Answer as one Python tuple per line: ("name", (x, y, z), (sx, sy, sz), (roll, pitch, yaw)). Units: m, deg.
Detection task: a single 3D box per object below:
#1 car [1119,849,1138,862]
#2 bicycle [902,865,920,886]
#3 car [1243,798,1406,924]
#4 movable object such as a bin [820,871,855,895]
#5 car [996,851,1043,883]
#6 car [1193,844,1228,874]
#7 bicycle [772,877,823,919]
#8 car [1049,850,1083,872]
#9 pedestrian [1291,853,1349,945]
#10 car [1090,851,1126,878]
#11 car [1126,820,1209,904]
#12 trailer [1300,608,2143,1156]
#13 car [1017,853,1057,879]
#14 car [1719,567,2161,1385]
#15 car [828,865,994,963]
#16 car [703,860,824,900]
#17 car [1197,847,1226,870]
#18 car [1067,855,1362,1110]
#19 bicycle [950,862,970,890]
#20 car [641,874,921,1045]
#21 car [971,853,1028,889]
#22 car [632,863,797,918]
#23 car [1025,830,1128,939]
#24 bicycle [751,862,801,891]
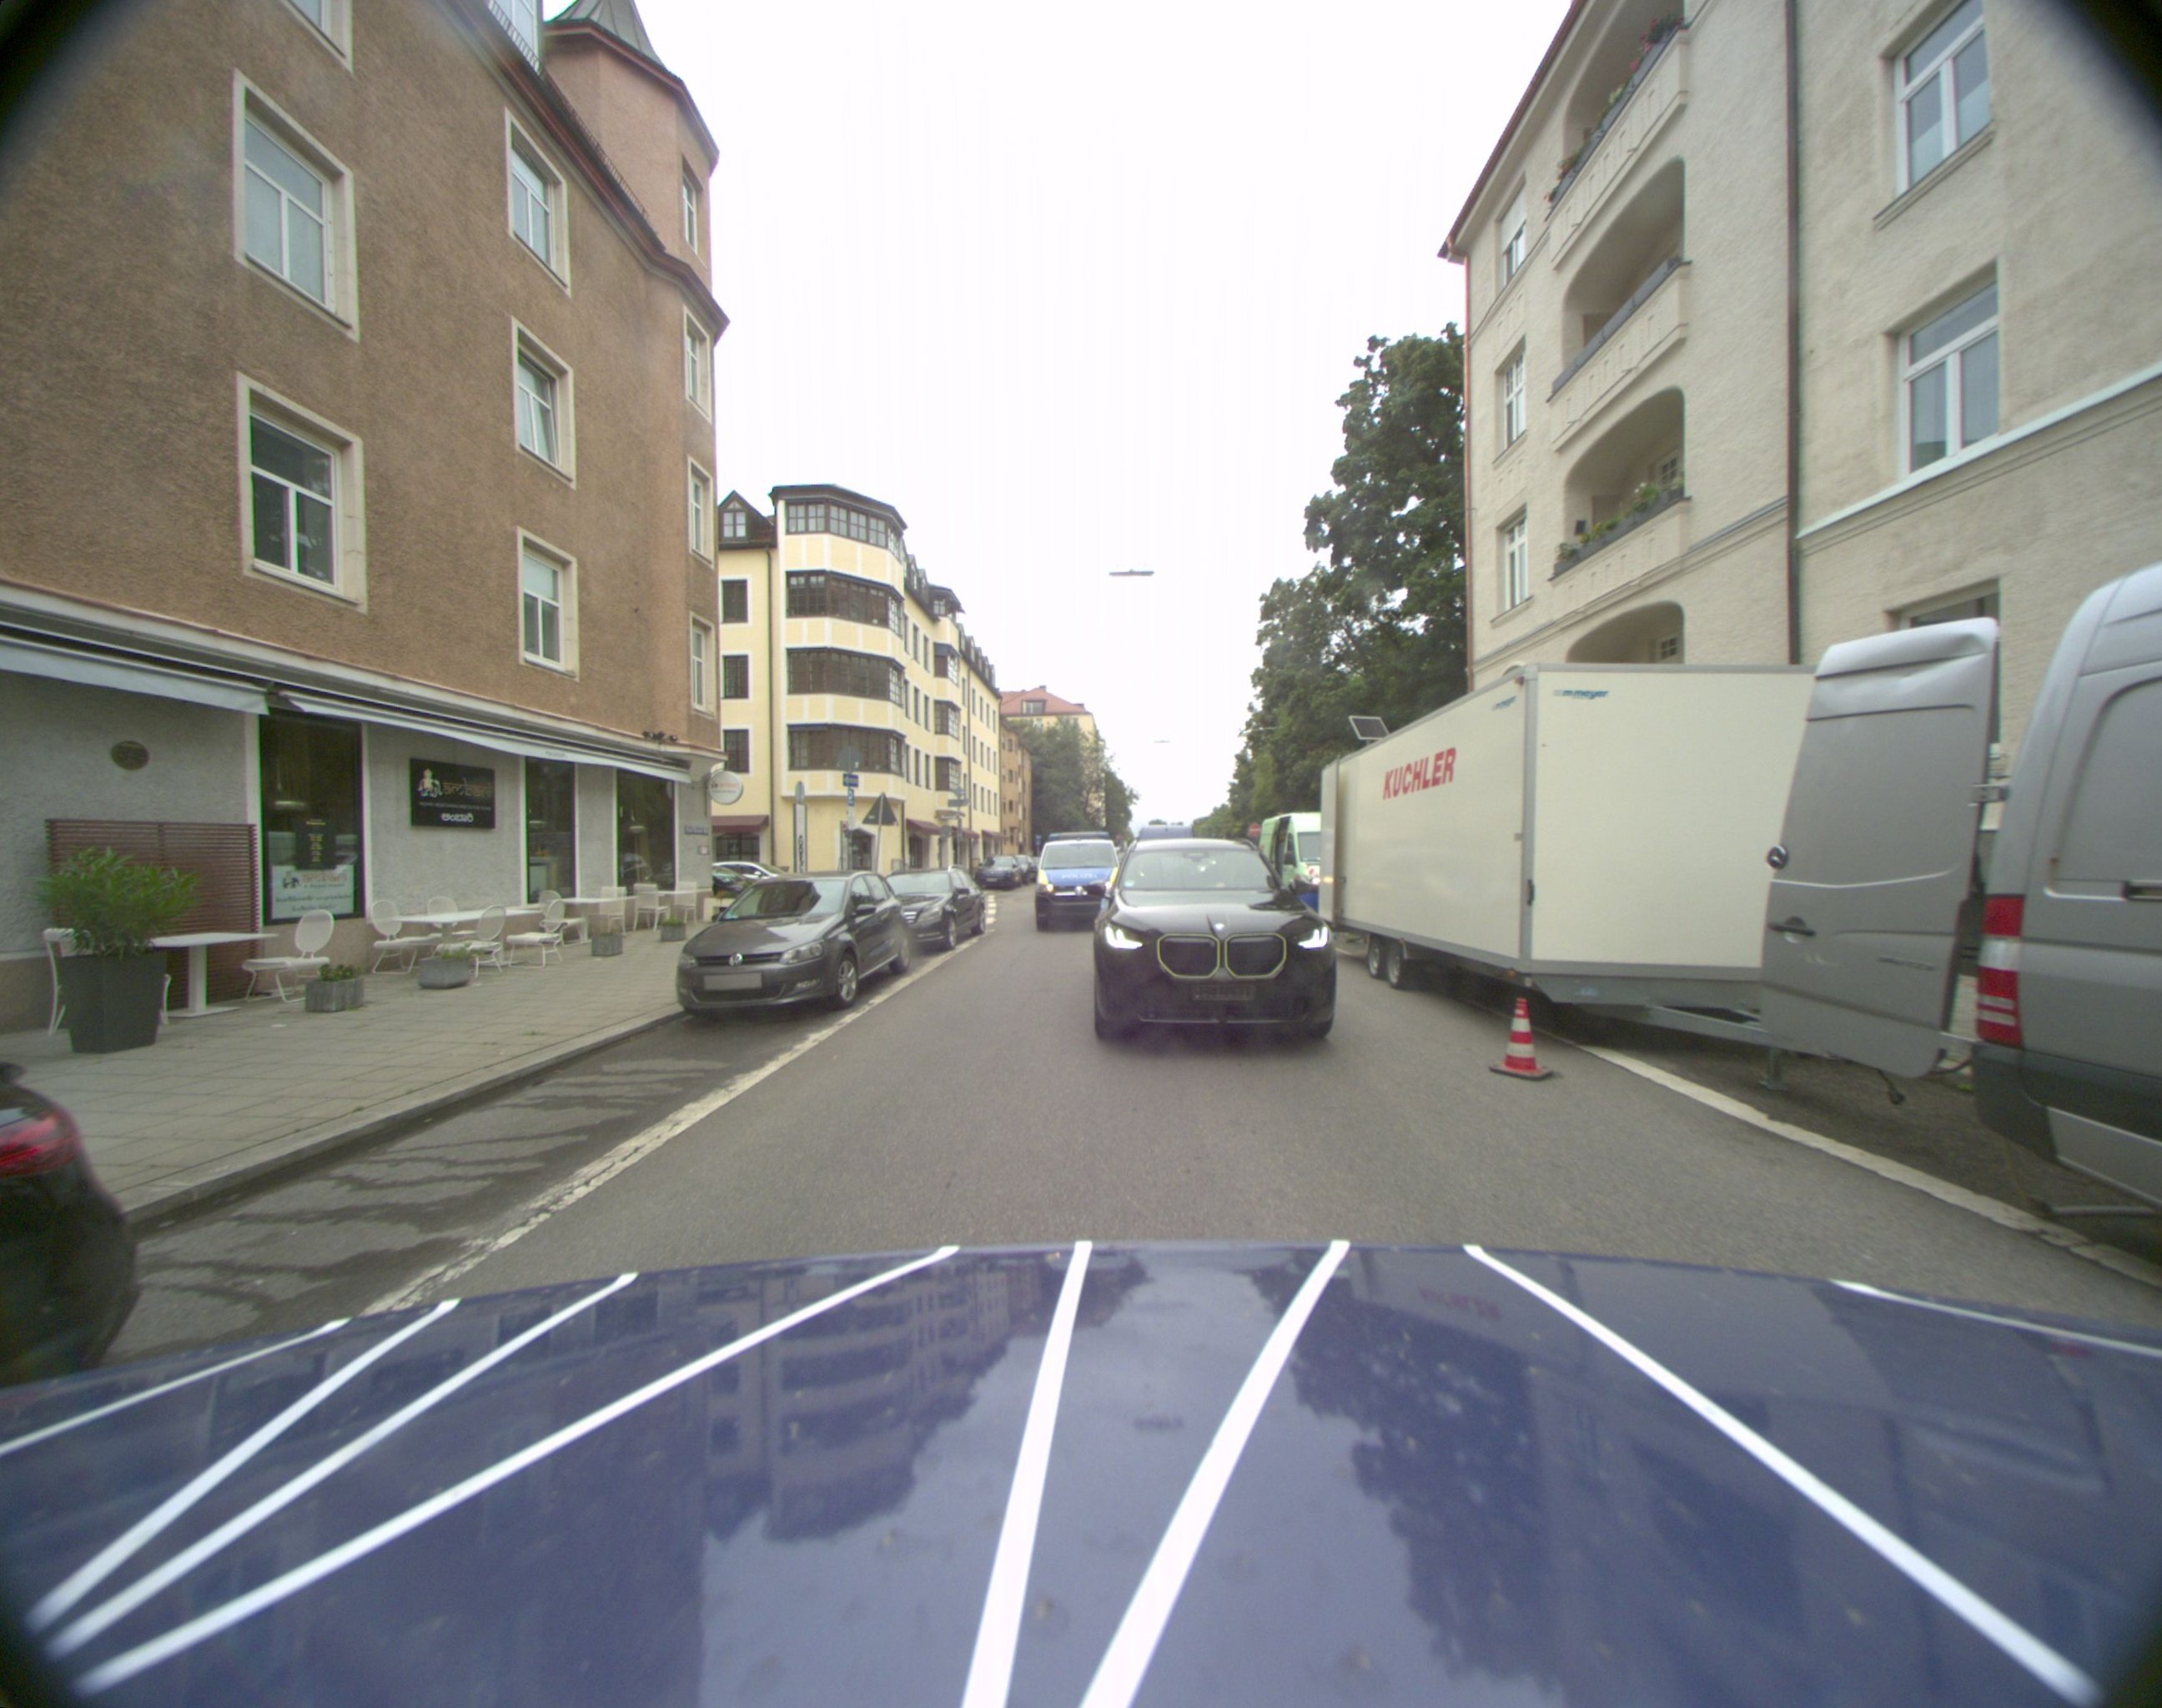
("car", (5.302, 0.196, 84.413), (1.836, 1.390, 4.002), (1, 1, 8))
("bicycle", (-8.087, 1.011, 36.168), (0.262, 0.897, 1.695), (4, 1, 5))
("car", (5.706, 0.138, 18.956), (2.146, 2.557, 6.795), (-1, 0, 3))
("movable object such as a bin", (-9.620, 1.135, 30.049), (1.125, 0.895, 0.684), (0, 1, 3))
("car", (-3.420, 0.710, 43.147), (1.817, 1.580, 4.165), (4, 1, 6))
("car", (7.620, 0.268, 44.764), (1.816, 1.580, 4.166), (4, 1, 9))
("bicycle", (-7.374, 1.118, 19.857), (0.496, 0.999, 1.804), (1, -1, 5))
("car", (-1.151, 0.484, 61.030), (1.882, 1.642, 5.619), (1, 1, 7))
("pedestrian", (4.239, 0.778, 13.510), (0.764, 1.571, 0.636), (-1, 1, -15))
("car", (1.754, 0.638, 48.039), (1.998, 1.587, 4.001), (1, 1, 5))
("car", (3.083, 0.174, 25.693), (2.003, 2.477, 6.238), (-1, 1, 13))
("trailer", (4.623, 0.150, 8.051), (2.810, 2.951, 7.602), (2, 0, 4))
("car", (-2.748, 0.713, 48.232), (1.763, 1.514, 3.934), (1, 1, 7))
("car", (4.395, 0.424, 0.557), (2.061, 2.572, 6.877), (3, 0, 2))
("car", (-2.942, 0.981, 14.326), (1.851, 1.397, 4.788), (-1, 0, 2))
("car", (-11.817, 0.967, 28.405), (3.742, 1.431, 1.753), (0, -2, 6))
("car", (9.258, 0.272, 54.228), (1.816, 1.455, 4.166), (4, 1, 8))
("car", (1.197, 0.835, 7.150), (1.920, 1.557, 4.296), (0, 1, 9))
("bicycle", (-5.409, 0.977, 33.932), (0.430, 1.152, 2.053), (0, 1, 4))
("car", (-3.180, 1.027, 9.026), (1.576, 1.386, 4.182), (0, 1, 1))
("car", (-3.970, 0.798, 37.926), (2.111, 1.613, 4.497), (-1, 1, 3))
("car", (-10.648, 1.034, 22.244), (3.881, 1.479, 1.892), (-1, 1, 3))
("car", (0.092, 0.588, 17.719), (1.826, 2.086, 5.634), (-2, 0, 5))
("bicycle", (-12.781, 0.944, 31.844), (1.904, 1.180, 0.515), (0, 1, 3))
